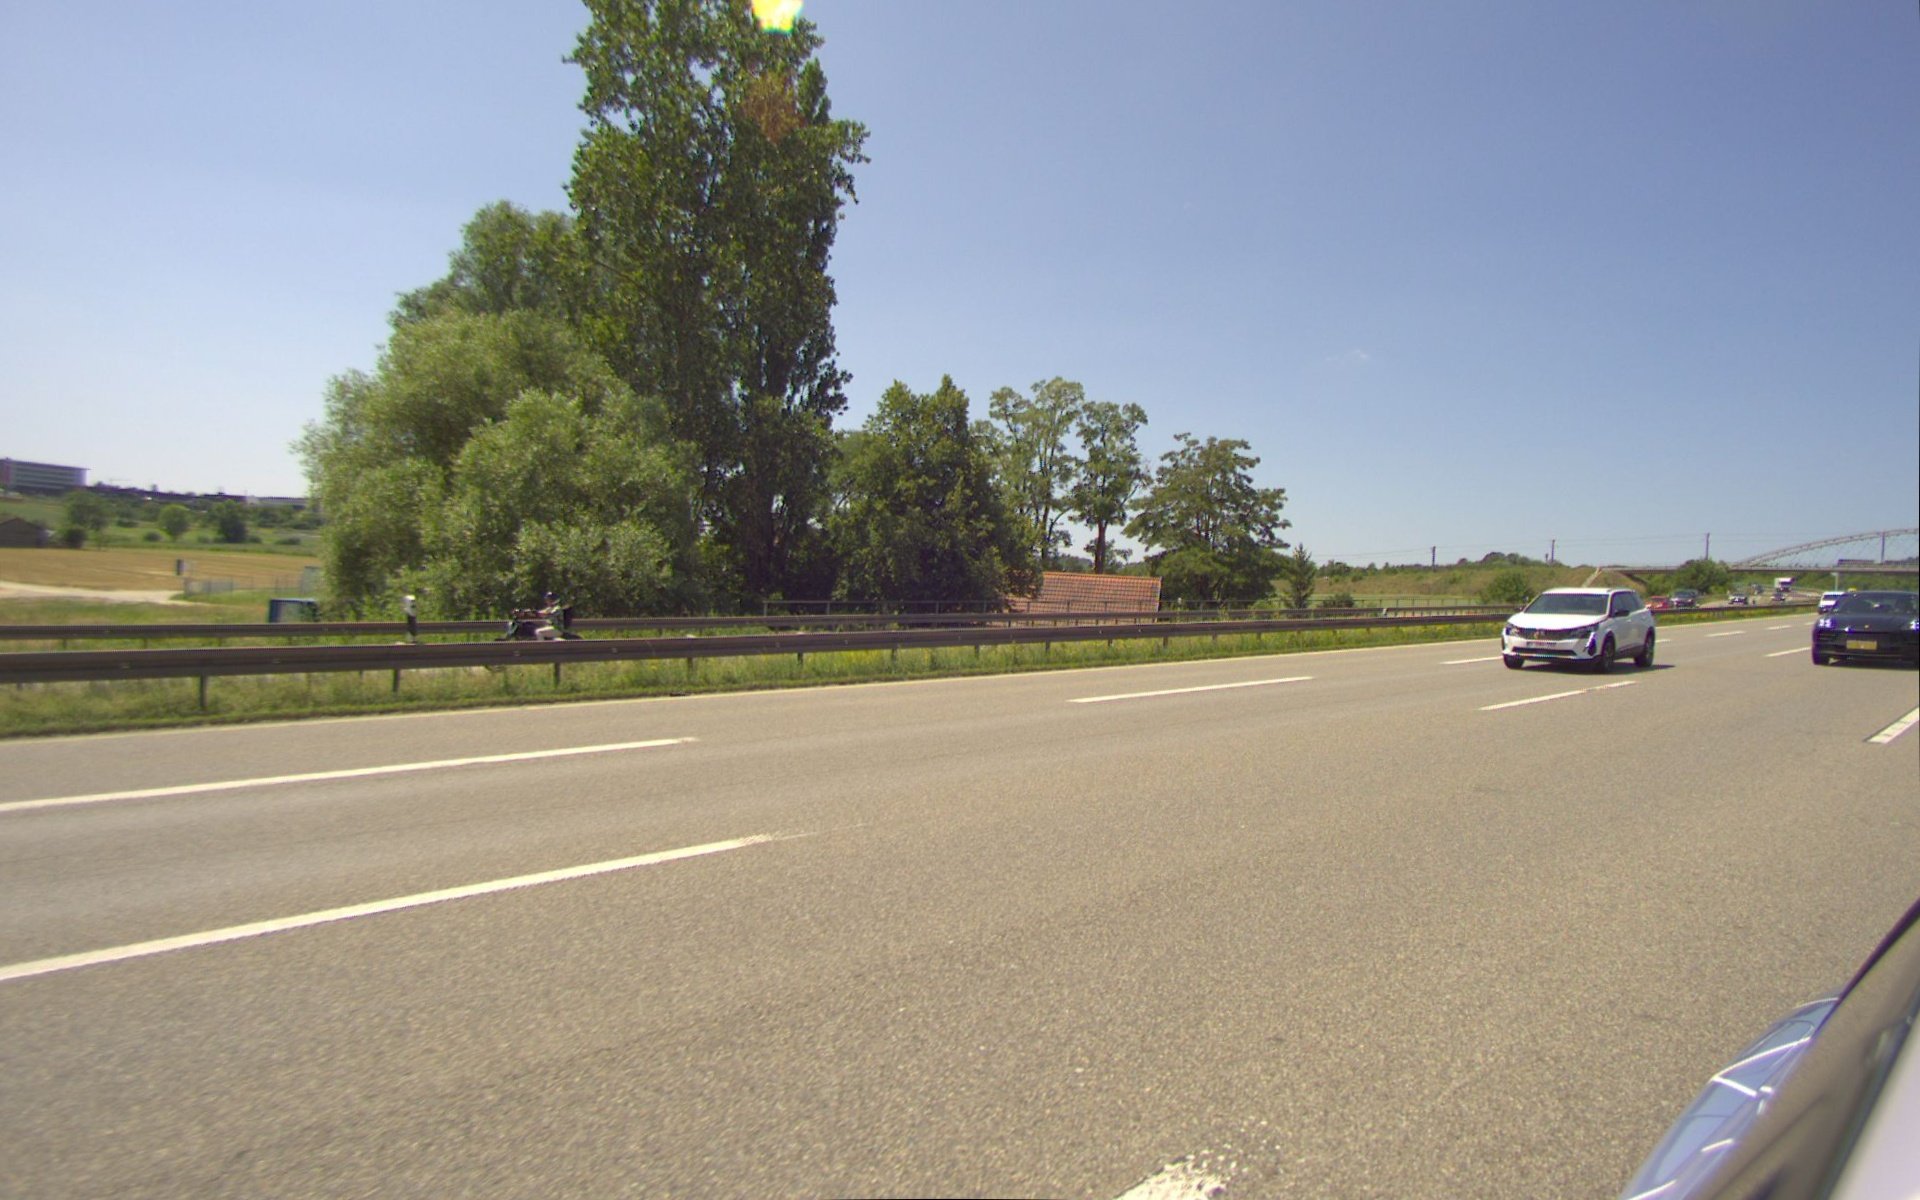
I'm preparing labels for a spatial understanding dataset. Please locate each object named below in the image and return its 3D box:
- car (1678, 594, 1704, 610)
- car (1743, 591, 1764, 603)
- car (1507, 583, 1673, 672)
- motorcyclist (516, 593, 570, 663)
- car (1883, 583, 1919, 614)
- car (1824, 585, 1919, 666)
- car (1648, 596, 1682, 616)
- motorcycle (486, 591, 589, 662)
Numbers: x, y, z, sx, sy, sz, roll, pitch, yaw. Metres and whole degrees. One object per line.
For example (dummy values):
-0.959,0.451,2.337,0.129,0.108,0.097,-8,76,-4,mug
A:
75.293,0.162,104.204,1.699,1.594,4.064,1,1,43,car
105.429,-0.387,134.418,4.060,1.594,1.701,-1,1,-44,car
12.969,0.469,20.709,4.542,1.611,1.746,-1,1,-43,car
-8.604,0.556,20.879,0.863,1.383,0.670,0,1,-39,motorcyclist
62.146,-0.139,66.651,4.225,1.943,1.805,-1,1,-45,car
20.421,0.484,22.078,4.062,1.615,1.929,-1,1,-43,car
58.647,0.474,84.155,1.699,1.594,4.064,1,1,43,car
-8.678,0.522,20.820,1.837,1.383,0.761,0,1,-41,motorcycle
